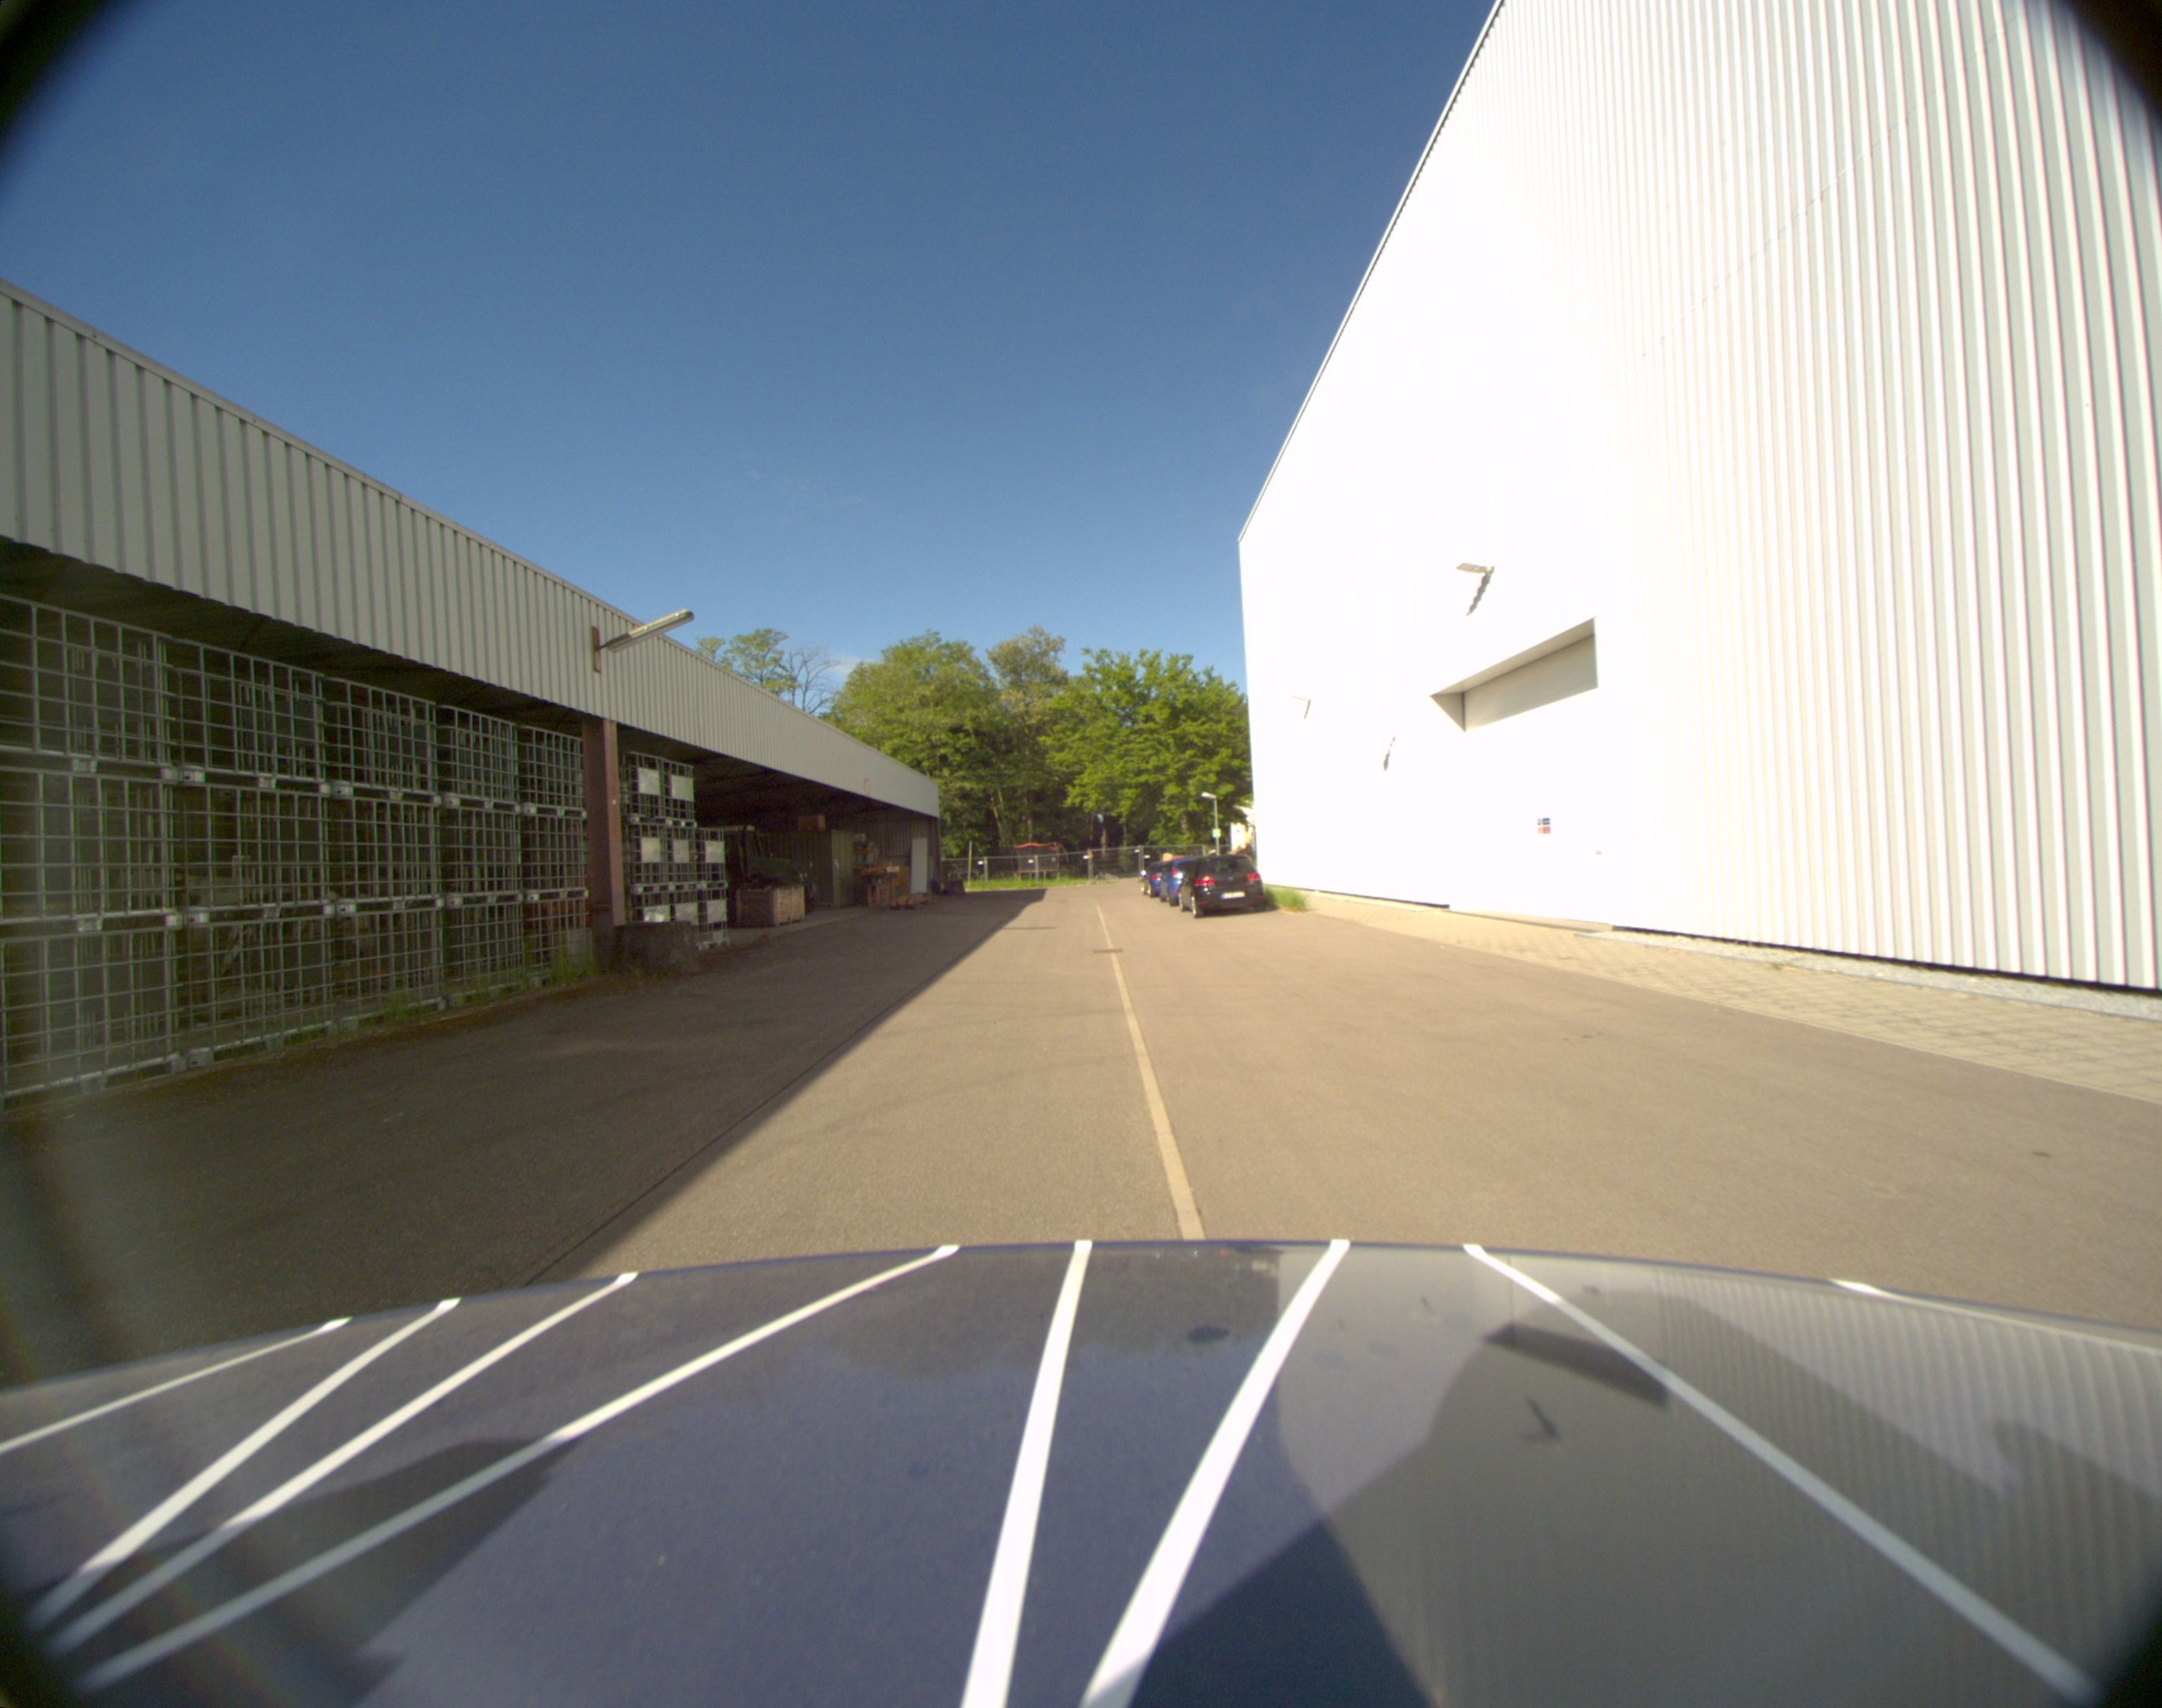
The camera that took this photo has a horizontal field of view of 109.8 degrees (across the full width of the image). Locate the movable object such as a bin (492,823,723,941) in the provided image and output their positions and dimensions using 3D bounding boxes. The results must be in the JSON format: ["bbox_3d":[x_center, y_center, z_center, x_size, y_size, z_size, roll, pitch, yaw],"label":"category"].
[{"bbox_3d":[-12.569,0.715,20.472,4.537,2.814,2.497,-2,0,1],"label":"movable object such as a bin"}]

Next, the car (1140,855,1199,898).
[{"bbox_3d":[3.399,0.863,29.896,1.716,1.440,3.798,-5,-1,-1],"label":"car"}]

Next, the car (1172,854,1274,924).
[{"bbox_3d":[3.521,0.826,19.639,1.760,1.437,4.315,-6,-1,1],"label":"car"}]

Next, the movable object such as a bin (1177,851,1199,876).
[{"bbox_3d":[6.393,0.554,45.627,1.141,1.426,1.289,-1,0,1],"label":"movable object such as a bin"}]

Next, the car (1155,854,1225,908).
[{"bbox_3d":[3.413,0.815,24.385,1.552,1.479,3.522,-5,-1,-1],"label":"car"}]

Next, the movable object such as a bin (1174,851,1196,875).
[{"bbox_3d":[6.420,0.562,46.991,1.141,1.469,1.280,-1,-1,1],"label":"movable object such as a bin"}]

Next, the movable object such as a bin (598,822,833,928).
[{"bbox_3d":[-11.198,0.627,23.737,5.848,2.908,2.820,-2,0,1],"label":"movable object such as a bin"}]
